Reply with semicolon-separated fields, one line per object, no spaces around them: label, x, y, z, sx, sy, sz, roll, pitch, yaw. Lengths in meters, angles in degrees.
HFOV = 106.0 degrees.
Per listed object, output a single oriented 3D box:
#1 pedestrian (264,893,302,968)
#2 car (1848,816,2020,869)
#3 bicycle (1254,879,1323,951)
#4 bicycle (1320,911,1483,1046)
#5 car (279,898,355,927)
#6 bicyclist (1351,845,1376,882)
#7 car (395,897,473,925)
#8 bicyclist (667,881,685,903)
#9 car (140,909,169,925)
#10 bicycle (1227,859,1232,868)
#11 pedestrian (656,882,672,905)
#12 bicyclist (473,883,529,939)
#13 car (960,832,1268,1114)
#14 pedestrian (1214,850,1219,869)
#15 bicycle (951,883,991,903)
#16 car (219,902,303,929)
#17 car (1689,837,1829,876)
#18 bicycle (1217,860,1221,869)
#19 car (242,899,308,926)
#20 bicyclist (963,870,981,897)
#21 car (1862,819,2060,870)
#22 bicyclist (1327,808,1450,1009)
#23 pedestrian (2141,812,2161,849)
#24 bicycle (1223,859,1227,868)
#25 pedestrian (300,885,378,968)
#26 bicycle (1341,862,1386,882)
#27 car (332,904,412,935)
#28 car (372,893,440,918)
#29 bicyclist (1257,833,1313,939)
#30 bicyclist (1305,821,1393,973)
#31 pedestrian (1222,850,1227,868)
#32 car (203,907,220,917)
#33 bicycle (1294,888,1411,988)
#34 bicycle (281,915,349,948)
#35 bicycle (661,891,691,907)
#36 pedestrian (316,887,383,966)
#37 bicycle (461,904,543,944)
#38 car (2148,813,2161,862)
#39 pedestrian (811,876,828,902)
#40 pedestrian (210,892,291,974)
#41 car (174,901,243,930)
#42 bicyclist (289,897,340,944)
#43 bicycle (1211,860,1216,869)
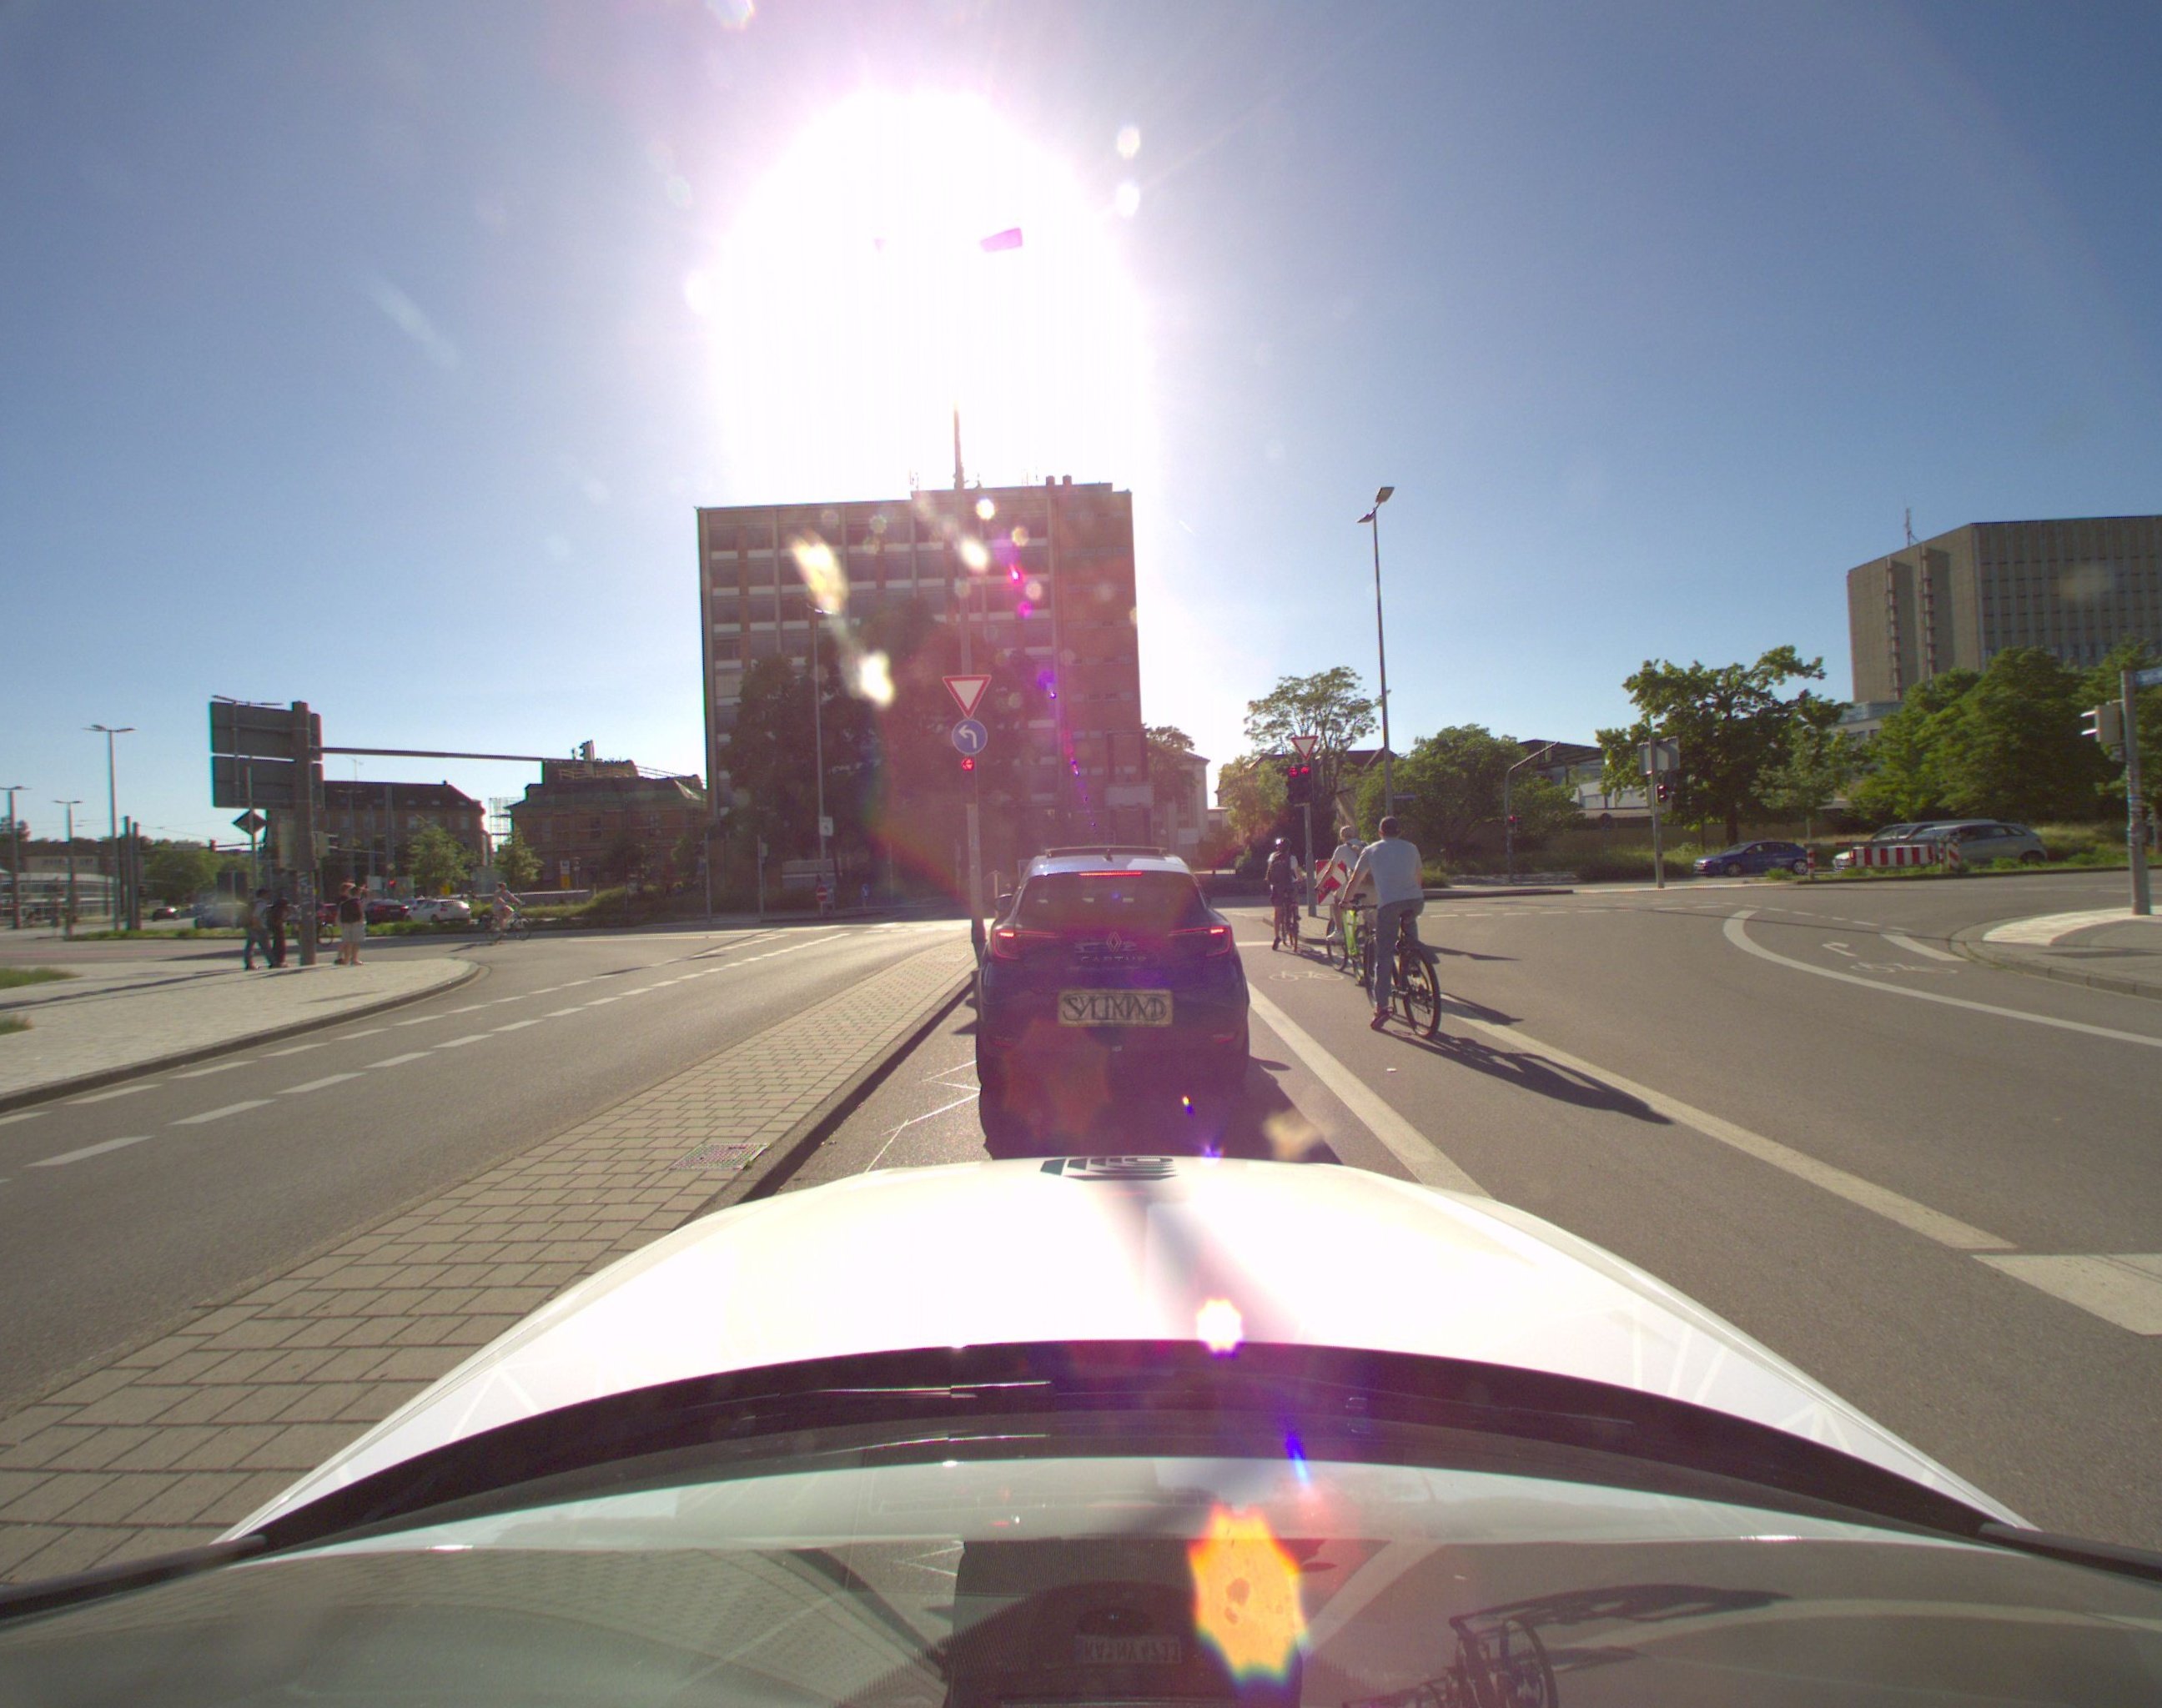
pedestrian;-19.140;1.813;19.537;0.600;1.729;0.572;-2;-1;-45
car;35.253;-0.441;33.768;4.856;2.107;2.002;0;-1;4
bicycle;3.249;0.928;12.941;0.735;0.995;2.177;0;-1;6
bicycle;2.713;1.012;7.145;0.737;0.896;1.980;0;-1;3
car;-48.458;3.687;51.654;4.334;1.632;1.854;-3;-1;23
bicyclist;14.462;0.477;41.738;1.094;1.867;0.655;-3;-1;12
car;-36.389;3.195;45.806;3.803;1.435;1.752;-2;-1;21
bicyclist;-27.460;2.557;55.219;0.928;1.429;0.602;-3;-1;23
car;-103.905;7.035;91.309;4.330;1.632;1.856;-3;-1;37
bicycle;17.188;1.073;94.180;0.403;0.973;1.686;0;-1;6
pedestrian;-29.372;2.772;57.321;0.852;1.571;0.563;-3;-1;28
bicyclist;-16.863;1.656;23.697;1.061;1.500;0.744;-4;-1;14
car;0.205;0.709;6.809;1.798;1.632;3.999;-1;0;0
pedestrian;15.102;0.600;90.864;0.473;2.014;0.524;-2;-1;8
bicycle;-5.926;2.113;44.033;2.016;0.964;0.593;-2;-1;-25
car;-49.013;3.681;48.667;4.841;1.388;1.854;-3;-1;23
car;28.218;0.100;34.015;4.140;1.435;1.747;-2;-1;8
bicycle;15.875;1.224;93.829;0.403;0.973;1.686;0;-1;6
car;-53.815;3.924;54.380;4.331;1.632;1.855;-3;-1;27
bicyclist;-5.889;1.597;44.060;0.741;1.441;0.593;-2;-1;-25
car;28.144;-0.296;26.173;4.025;1.408;1.872;-2;-1;8
bicyclist;2.714;0.461;7.302;0.748;1.668;1.017;0;-1;3
pedestrian;52.091;-1.146;39.522;0.559;1.778;0.528;-2;0;3
bicycle;16.654;1.077;94.179;0.403;0.973;1.686;0;-1;6
pedestrian;-17.060;1.647;18.743;0.696;1.800;1.109;-6;-3;27
bicycle;14.430;0.918;41.637;2.069;0.930;0.698;-3;1;9
car;-42.562;3.922;48.901;4.334;1.632;1.854;-3;-1;23
car;-48.730;3.750;58.758;4.779;1.632;1.855;-2;-1;25
bicyclist;3.240;0.501;12.994;0.722;1.629;0.970;0;-1;6
bicyclist;3.216;0.495;9.857;0.644;1.739;1.065;0;-1;-4
pedestrian;16.214;0.602;92.190;0.473;2.014;0.469;-2;-1;8
car;-177.014;11.775;165.808;3.948;2.013;2.013;-3;-1;38
bicycle;3.216;0.956;9.859;0.657;1.003;1.967;0;-1;-4
bicycle;-24.934;2.534;26.516;1.968;0.918;0.690;-5;-1;17
bicycle;-27.441;3.040;55.217;2.057;0.964;0.602;-3;-1;23
pedestrian;-16.411;1.613;18.284;0.785;1.690;0.793;-6;-3;20
bicycle;-16.840;2.036;23.697;1.970;0.995;0.744;-4;-1;12
car;36.987;-0.624;25.356;4.713;1.584;2.002;-2;-1;3
pedestrian;-16.665;2.231;51.916;0.731;1.603;0.601;-3;-1;19
pedestrian;-18.276;1.713;17.941;0.900;1.690;0.839;-4;-3;-3
car;-55.160;3.910;51.478;4.331;1.632;1.855;-3;-1;27
bicyclist;-24.961;2.156;26.529;1.115;1.422;0.690;-4;-1;17
bicycle;15.258;1.229;93.888;0.403;0.973;1.686;0;-1;6
